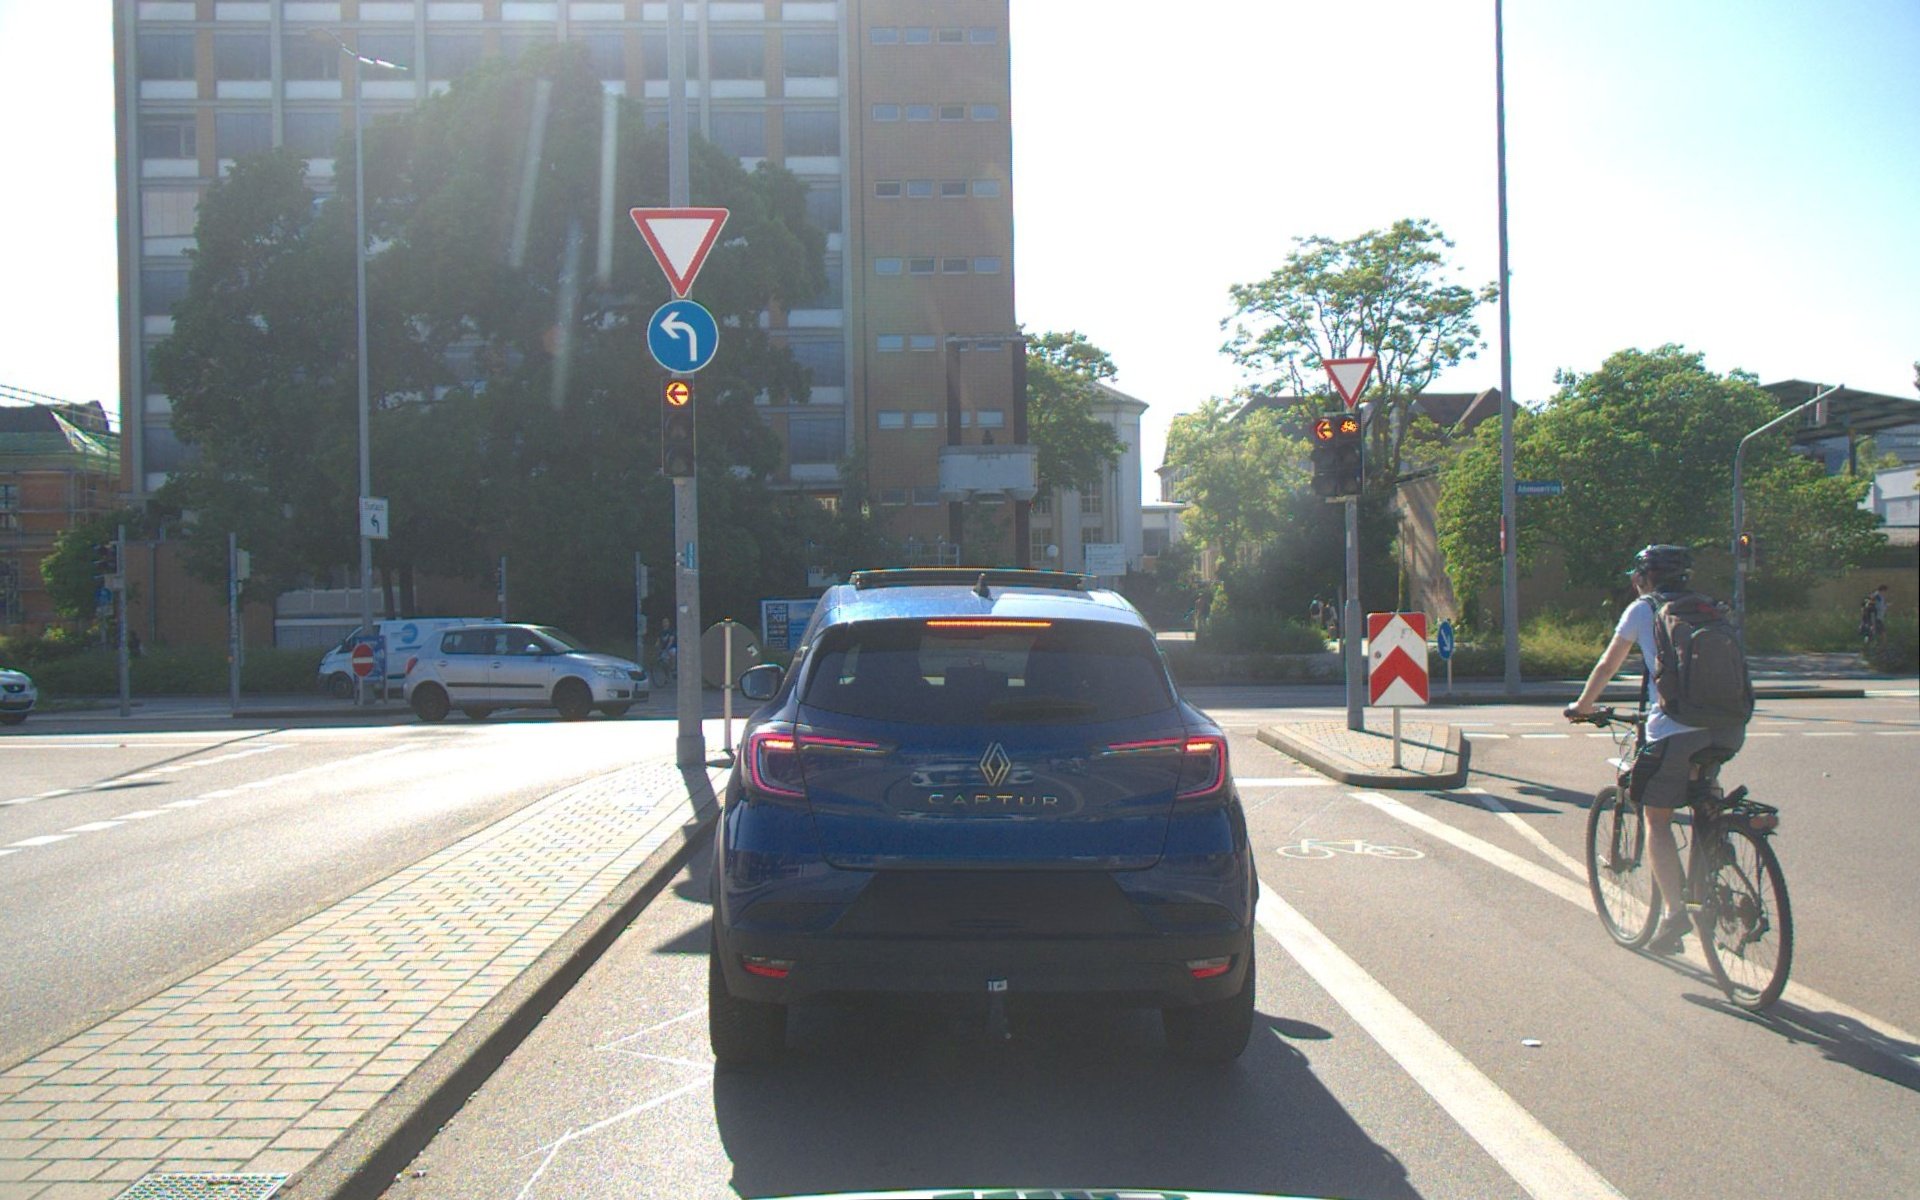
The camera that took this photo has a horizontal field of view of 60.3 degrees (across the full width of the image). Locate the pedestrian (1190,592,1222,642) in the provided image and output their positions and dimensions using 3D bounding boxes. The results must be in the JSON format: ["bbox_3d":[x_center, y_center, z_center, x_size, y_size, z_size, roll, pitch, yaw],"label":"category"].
[{"bbox_3d":[10.366,0.699,69.684,1.132,2.049,1.164,-1,0,-1],"label":"pedestrian"}]

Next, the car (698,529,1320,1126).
[{"bbox_3d":[0.089,0.641,6.629,1.758,1.684,3.852,1,0,-2],"label":"car"}]

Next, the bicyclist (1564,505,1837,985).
[{"bbox_3d":[2.985,0.556,6.752,0.663,1.816,0.939,1,-1,-2],"label":"bicyclist"}]

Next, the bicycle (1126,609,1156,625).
[{"bbox_3d":[10.855,1.005,99.349,1.735,0.908,0.765,-1,0,-1],"label":"bicycle"}]

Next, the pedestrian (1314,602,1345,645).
[{"bbox_3d":[14.361,0.897,64.296,0.917,1.641,1.175,-1,0,-1],"label":"pedestrian"}]

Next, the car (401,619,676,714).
[{"bbox_3d":[-6.668,1.054,26.334,3.762,1.428,1.893,0,-3,12],"label":"car"}]

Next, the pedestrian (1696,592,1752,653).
[{"bbox_3d":[19.544,0.570,42.326,1.062,1.547,0.931,-1,0,9],"label":"pedestrian"}]

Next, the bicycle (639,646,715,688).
[{"bbox_3d":[-7.481,1.778,43.779,1.842,1.025,0.693,-1,-3,-30],"label":"bicycle"}]

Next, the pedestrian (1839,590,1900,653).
[{"bbox_3d":[22.710,0.528,41.307,1.052,1.547,0.879,-1,0,4],"label":"pedestrian"}]

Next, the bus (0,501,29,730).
[{"bbox_3d":[-21.362,0.366,26.790,12.159,3.633,3.252,-1,0,16],"label":"bus"}]

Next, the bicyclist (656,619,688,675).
[{"bbox_3d":[-7.602,1.248,43.703,0.630,1.437,0.642,0,-3,-31],"label":"bicyclist"}]

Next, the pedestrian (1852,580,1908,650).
[{"bbox_3d":[23.527,0.375,42.319,0.942,1.763,0.926,-1,0,6],"label":"pedestrian"}]

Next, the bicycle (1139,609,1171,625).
[{"bbox_3d":[11.202,0.975,94.991,1.735,0.914,0.765,-1,0,-1],"label":"bicycle"}]

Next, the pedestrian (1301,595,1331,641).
[{"bbox_3d":[13.973,0.719,64.976,0.933,1.772,0.984,-1,0,-1],"label":"pedestrian"}]

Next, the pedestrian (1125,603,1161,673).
[{"bbox_3d":[5.023,1.029,45.349,0.912,1.888,0.808,-1,0,8],"label":"pedestrian"}]

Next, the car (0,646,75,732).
[{"bbox_3d":[-17.899,1.557,29.095,3.902,1.397,1.761,-1,0,14],"label":"car"}]

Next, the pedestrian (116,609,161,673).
[{"bbox_3d":[-26.855,1.324,54.093,0.807,2.049,1.014,-1,0,27],"label":"pedestrian"}]

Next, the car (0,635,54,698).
[{"bbox_3d":[-27.105,1.794,44.386,4.739,1.609,2.103,-1,0,15],"label":"car"}]

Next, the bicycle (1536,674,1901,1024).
[{"bbox_3d":[3.018,0.925,6.798,0.602,1.158,1.825,0,0,-2],"label":"bicycle"}]

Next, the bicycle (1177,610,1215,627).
[{"bbox_3d":[11.859,0.924,83.200,1.739,0.837,0.763,-1,0,-11],"label":"bicycle"}]

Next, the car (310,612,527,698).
[{"bbox_3d":[-13.767,1.392,42.134,4.892,2.049,2.074,-1,0,15],"label":"car"}]

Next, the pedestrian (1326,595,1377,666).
[{"bbox_3d":[10.642,0.812,44.942,1.269,1.888,0.967,-1,0,11],"label":"pedestrian"}]
